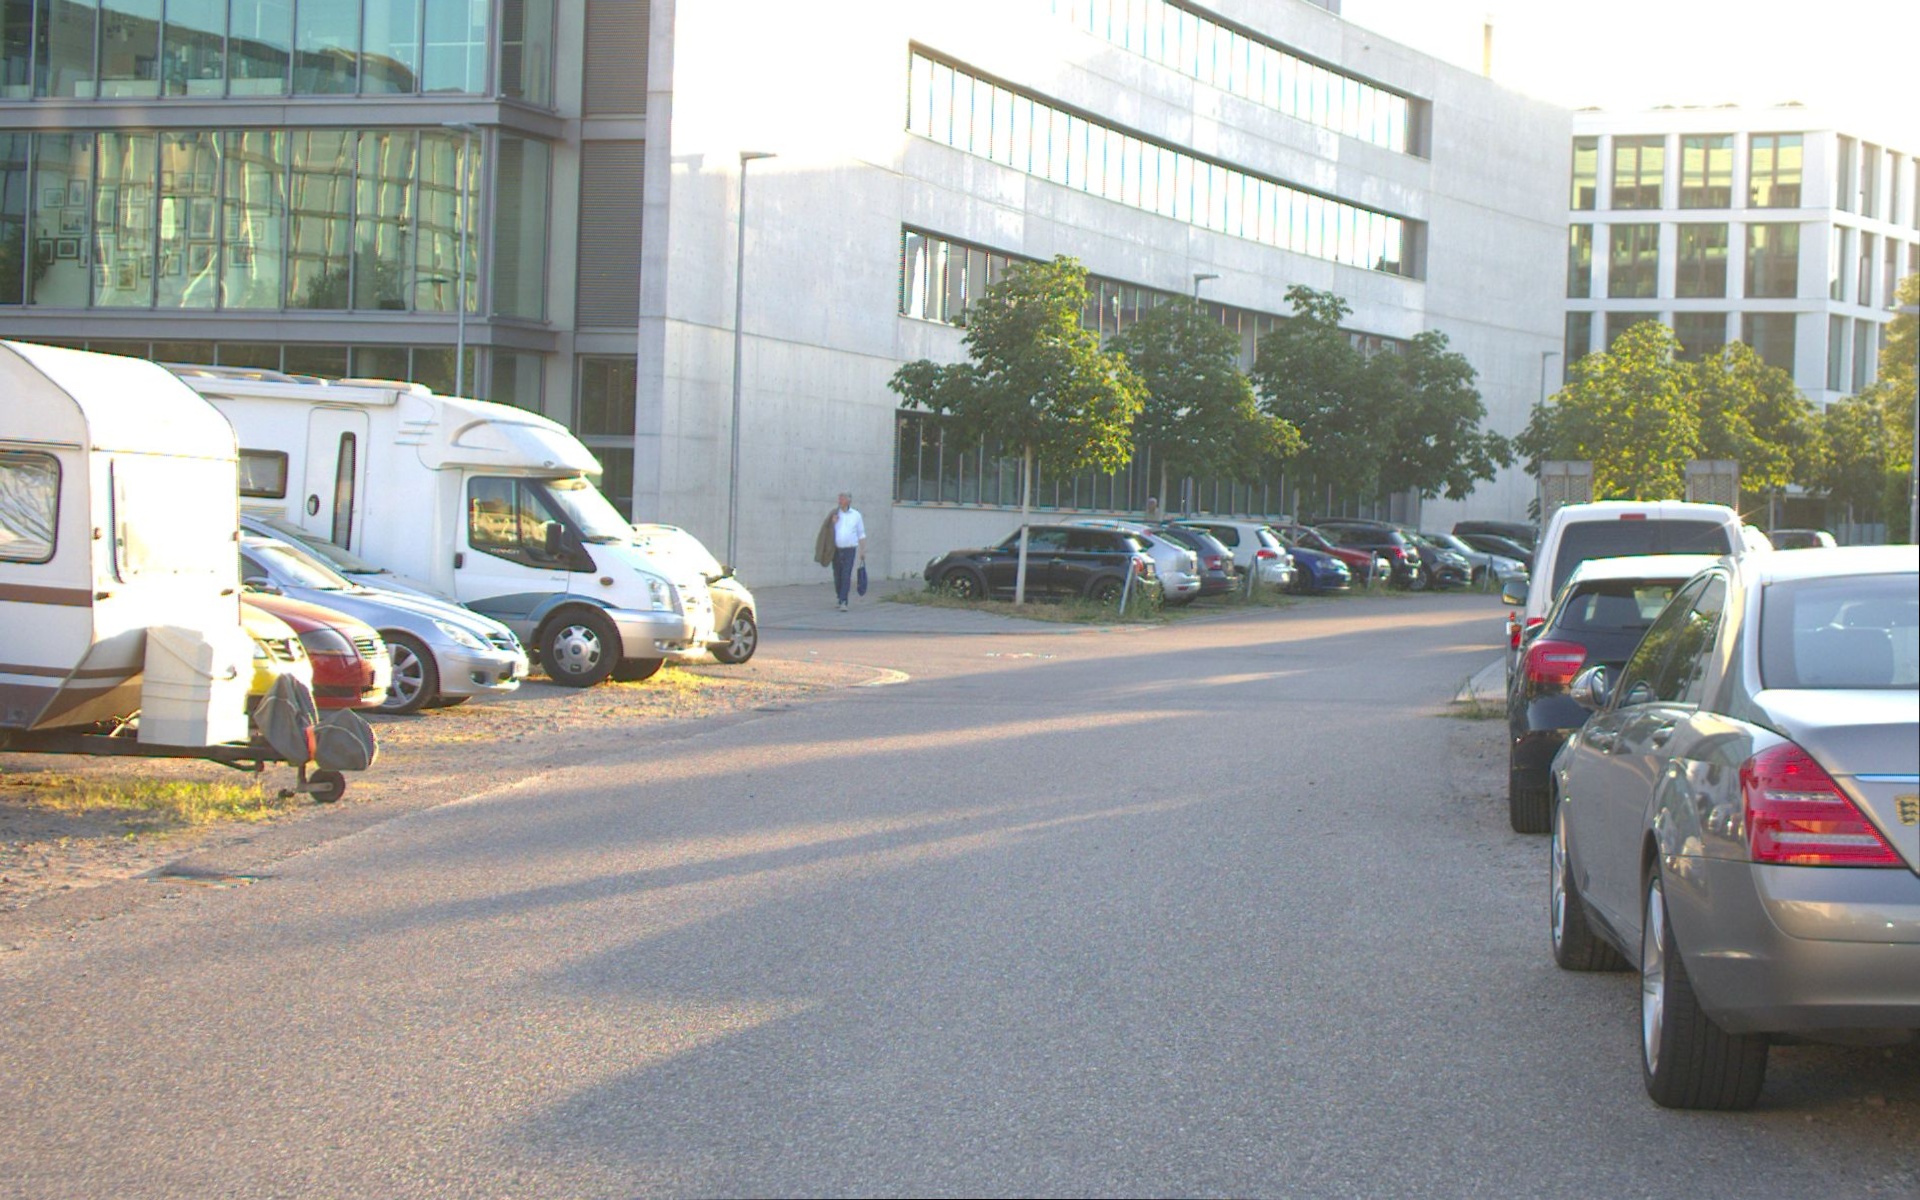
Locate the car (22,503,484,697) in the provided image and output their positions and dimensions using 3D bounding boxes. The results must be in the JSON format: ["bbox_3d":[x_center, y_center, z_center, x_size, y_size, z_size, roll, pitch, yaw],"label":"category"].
[{"bbox_3d":[-6.180,-0.022,30.277,3.605,1.471,1.693,3,1,3],"label":"car"}]

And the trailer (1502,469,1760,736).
[{"bbox_3d":[6.046,-0.046,31.517,2.065,2.204,5.221,1,1,9],"label":"trailer"}]

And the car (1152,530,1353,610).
[{"bbox_3d":[5.734,-0.602,67.264,3.635,1.357,1.685,3,2,15],"label":"car"}]

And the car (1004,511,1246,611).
[{"bbox_3d":[2.940,-0.705,60.976,4.000,1.507,1.584,3,3,13],"label":"car"}]

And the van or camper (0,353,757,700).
[{"bbox_3d":[-5.549,-0.723,32.800,6.743,2.887,2.408,3,1,9],"label":"van or camper"}]

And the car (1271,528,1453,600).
[{"bbox_3d":[9.067,-0.808,77.562,3.706,1.452,1.677,3,1,22],"label":"car"}]

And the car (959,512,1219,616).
[{"bbox_3d":[2.218,-0.635,58.838,4.088,1.523,1.845,3,2,13],"label":"car"}]

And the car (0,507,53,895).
[{"bbox_3d":[-6.024,0.266,13.886,4.128,1.585,1.747,4,0,12],"label":"car"}]

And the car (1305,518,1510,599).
[{"bbox_3d":[10.418,-0.960,79.997,4.314,1.690,1.894,3,1,22],"label":"car"}]

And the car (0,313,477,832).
[{"bbox_3d":[-5.932,-0.299,18.972,5.890,2.525,2.411,4,1,9],"label":"car"}]

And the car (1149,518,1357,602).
[{"bbox_3d":[6.017,-0.834,70.641,3.874,1.506,1.758,3,2,20],"label":"car"}]

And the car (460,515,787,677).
[{"bbox_3d":[-3.461,-0.050,36.188,1.688,1.514,4.357,4,1,19],"label":"car"}]

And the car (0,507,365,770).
[{"bbox_3d":[-5.908,0.181,22.394,3.629,1.514,1.705,3,1,5],"label":"car"}]

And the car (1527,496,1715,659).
[{"bbox_3d":[9.154,-0.346,47.309,2.067,2.087,4.868,1,1,16],"label":"car"}]

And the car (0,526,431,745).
[{"bbox_3d":[-5.924,0.216,25.075,3.726,1.362,1.705,3,1,5],"label":"car"}]

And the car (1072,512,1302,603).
[{"bbox_3d":[4.344,-0.823,65.666,3.991,1.506,1.758,3,2,19],"label":"car"}]

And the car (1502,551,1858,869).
[{"bbox_3d":[3.998,0.512,19.125,1.705,1.514,4.086,1,1,12],"label":"car"}]

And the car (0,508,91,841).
[{"bbox_3d":[-6.575,0.222,16.693,4.127,1.585,1.748,4,1,6],"label":"car"}]

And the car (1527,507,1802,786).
[{"bbox_3d":[5.125,0.270,25.218,1.772,1.825,4.406,1,1,11],"label":"car"}]

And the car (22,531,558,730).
[{"bbox_3d":[-5.291,0.214,27.402,3.808,1.324,1.692,3,1,7],"label":"car"}]

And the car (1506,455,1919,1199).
[{"bbox_3d":[2.707,0.484,10.139,1.806,1.719,4.928,0,1,5],"label":"car"}]

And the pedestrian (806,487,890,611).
[{"bbox_3d":[-1.696,-0.775,52.148,0.899,1.844,0.856,0,2,-39],"label":"pedestrian"}]

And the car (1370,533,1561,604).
[{"bbox_3d":[12.930,-0.803,87.948,4.405,1.494,1.760,5,1,30],"label":"car"}]

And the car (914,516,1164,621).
[{"bbox_3d":[1.306,-0.538,56.186,3.737,1.477,1.769,3,2,14],"label":"car"}]

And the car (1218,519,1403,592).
[{"bbox_3d":[7.752,-0.977,76.005,3.706,1.452,1.710,3,1,21],"label":"car"}]

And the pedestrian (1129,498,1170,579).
[{"bbox_3d":[4.256,-1.376,77.242,0.646,1.778,0.724,3,1,20],"label":"pedestrian"}]

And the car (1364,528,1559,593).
[{"bbox_3d":[12.484,-0.997,85.667,4.440,1.459,1.761,3,2,26],"label":"car"}]
